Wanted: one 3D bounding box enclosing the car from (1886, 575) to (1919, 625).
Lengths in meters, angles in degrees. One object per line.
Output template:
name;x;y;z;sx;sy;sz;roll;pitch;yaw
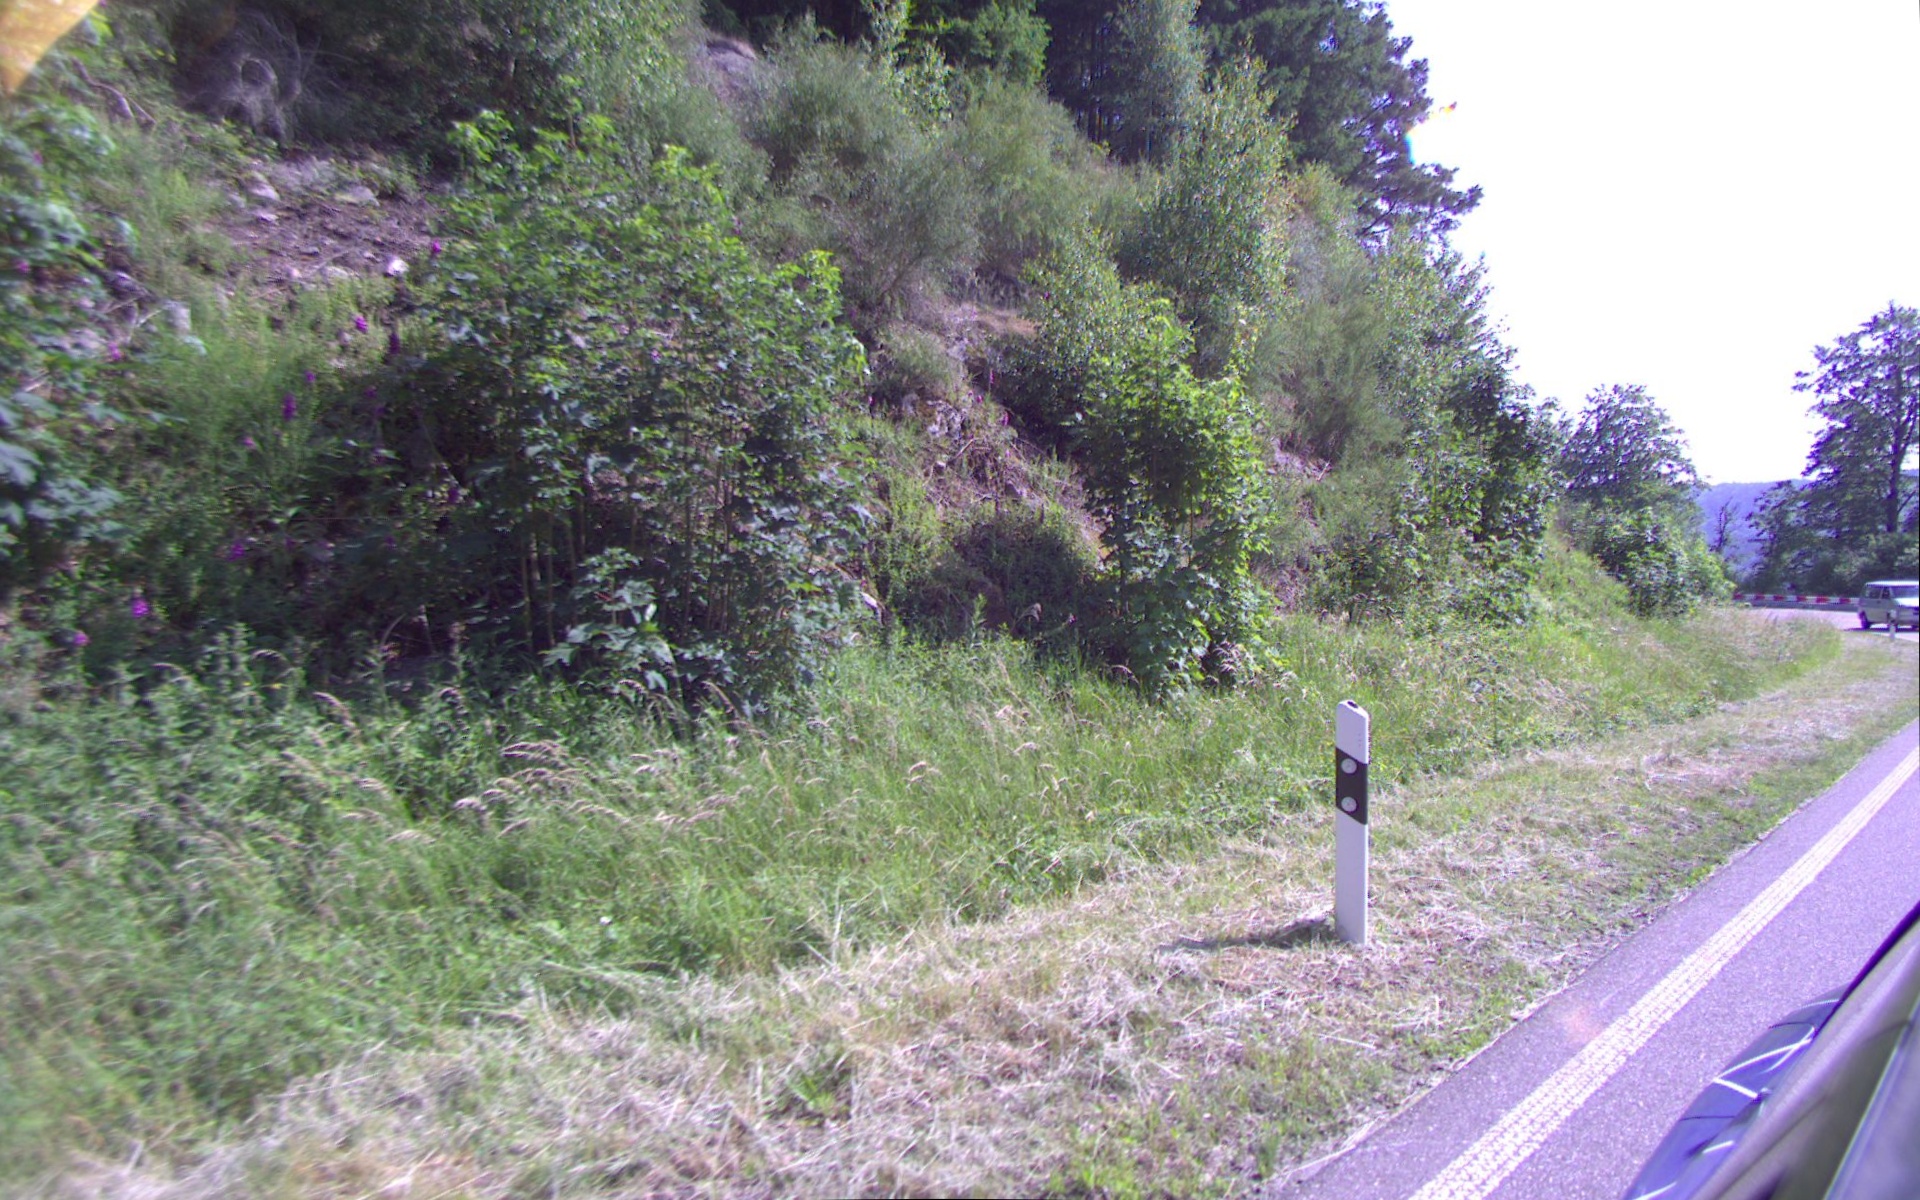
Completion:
car;38.170;-0.062;39.717;2.126;1.859;4.660;-2;0;37
